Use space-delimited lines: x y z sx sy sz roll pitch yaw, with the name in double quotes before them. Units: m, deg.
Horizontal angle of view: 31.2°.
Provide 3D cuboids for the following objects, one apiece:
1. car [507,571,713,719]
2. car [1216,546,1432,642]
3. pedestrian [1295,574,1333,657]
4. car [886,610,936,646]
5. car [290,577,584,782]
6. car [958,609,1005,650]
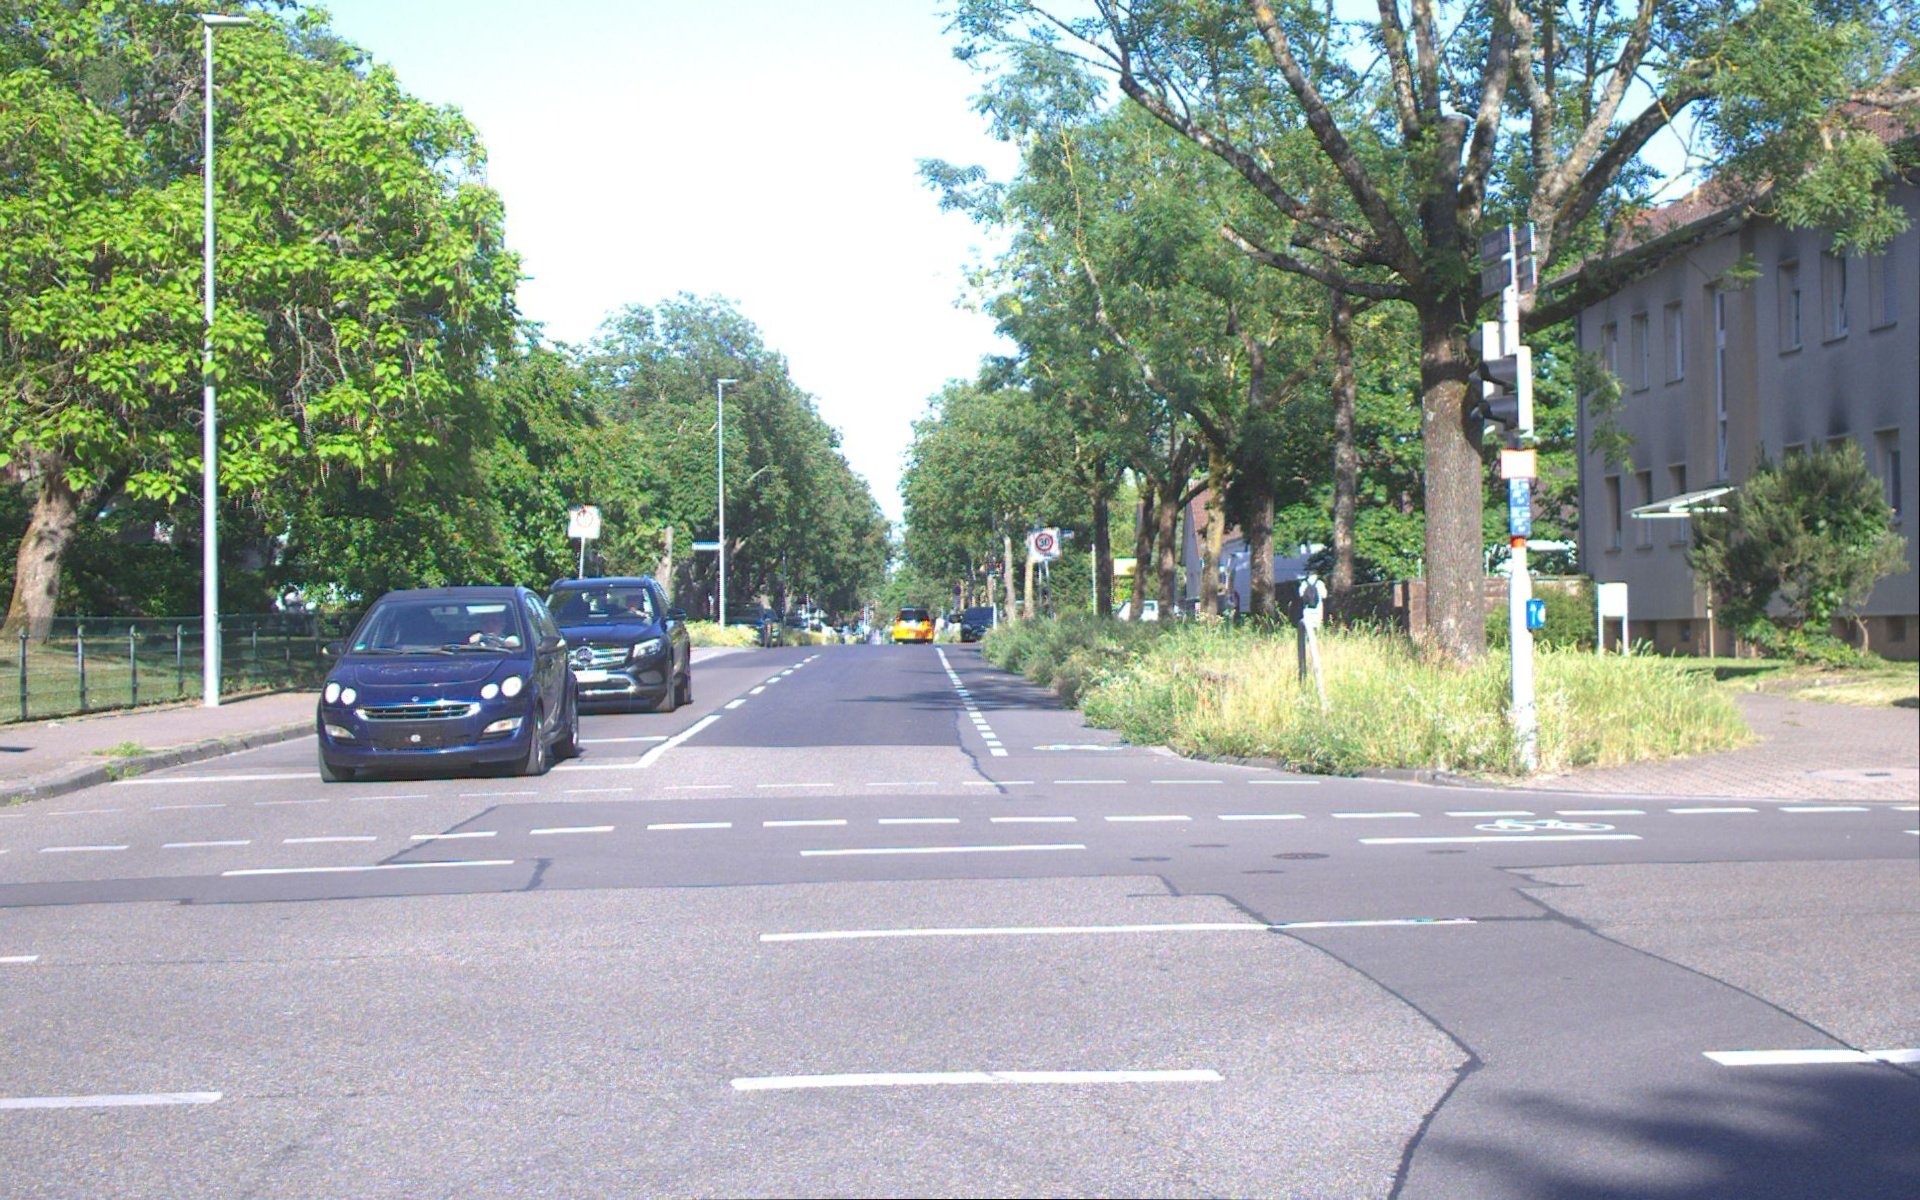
"car" -4.150 0.494 41.407 1.815 1.612 4.392 -2 0 2
"car" 10.081 -0.166 95.433 5.594 2.530 2.266 -1 0 -4
"pedestrian" 7.440 0.315 72.290 0.637 1.700 0.612 -3 1 -2
"car" -2.079 1.198 145.317 1.887 1.474 3.888 2 -1 -4
"car" -4.064 0.617 27.260 1.806 1.450 3.850 -2 -1 -2
"car" 0.898 1.279 146.503 1.853 1.620 4.469 -2 -1 -1
